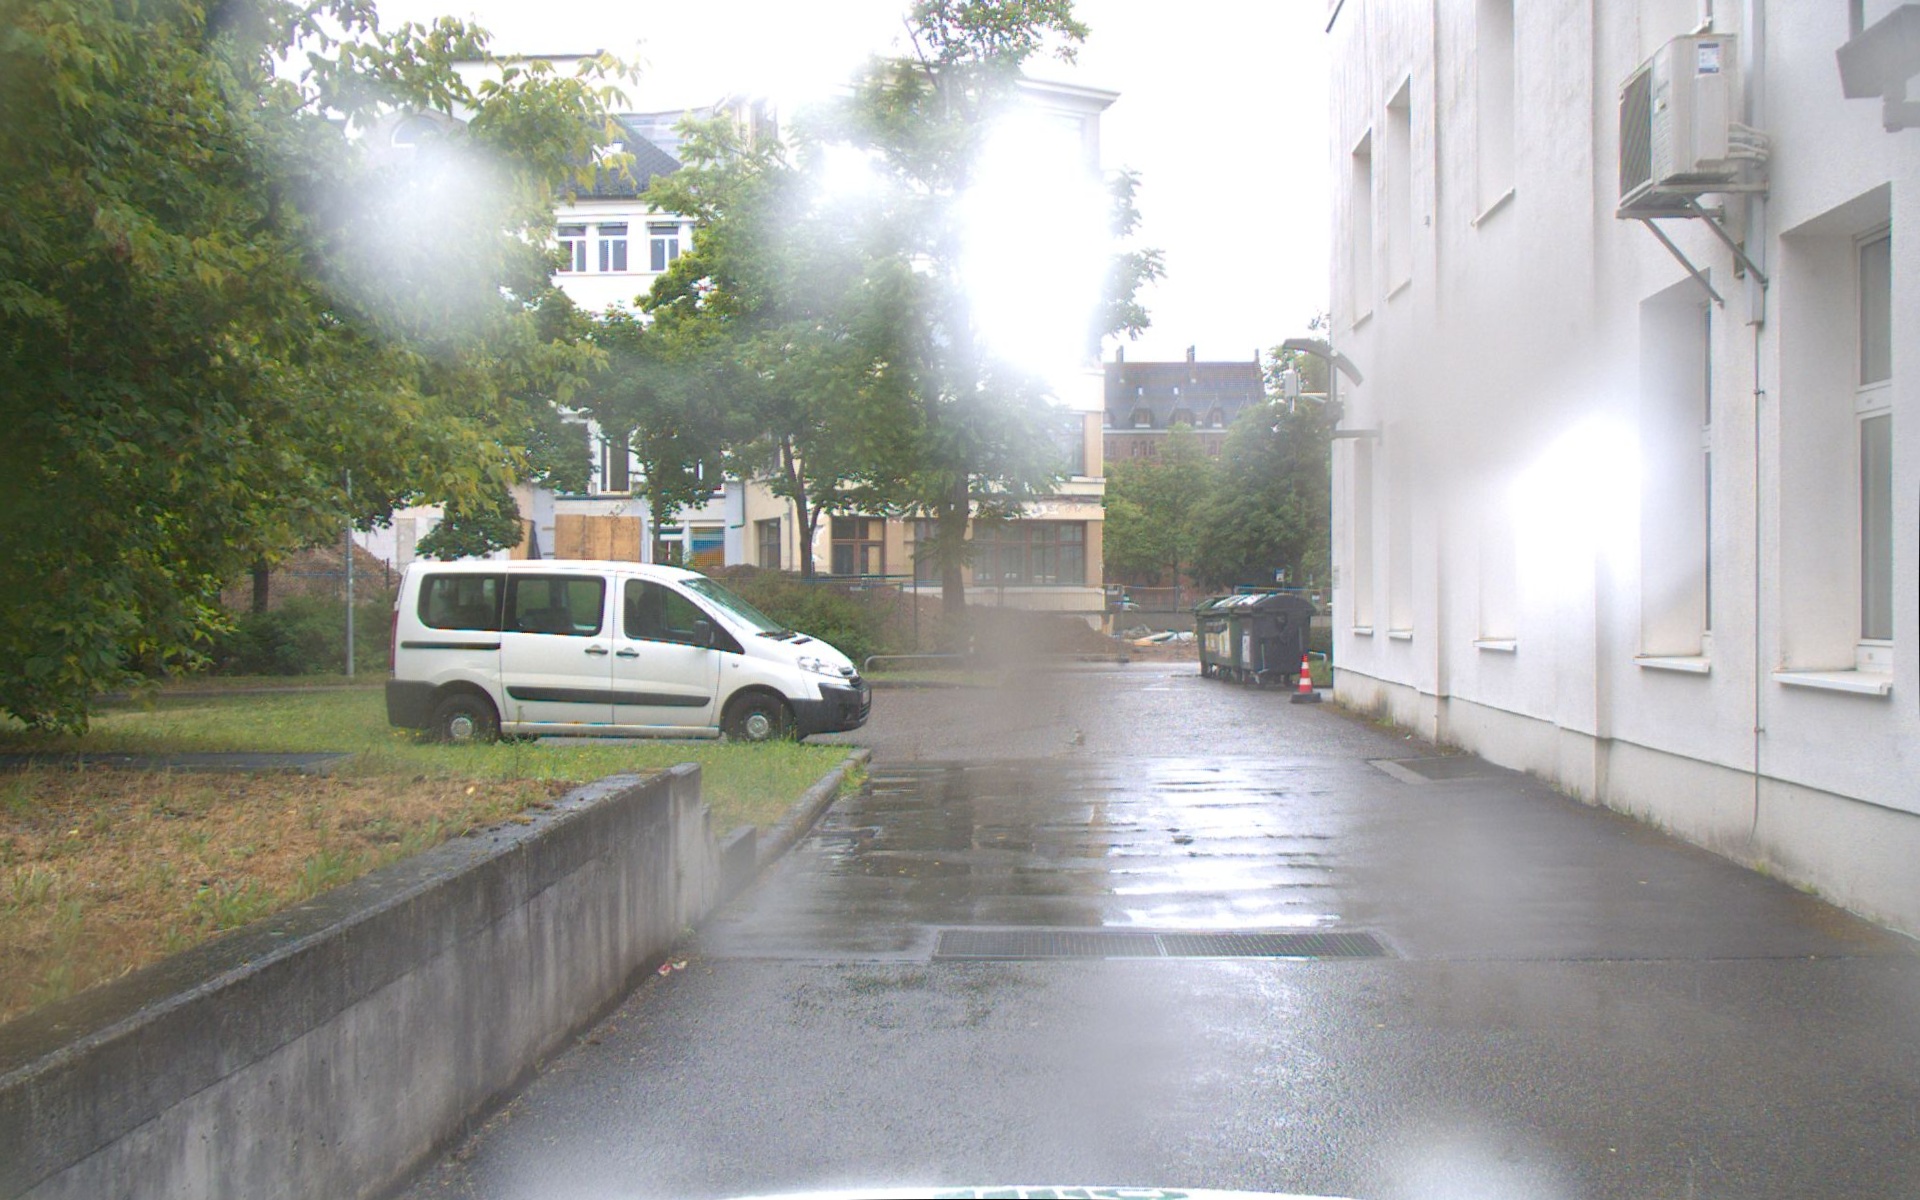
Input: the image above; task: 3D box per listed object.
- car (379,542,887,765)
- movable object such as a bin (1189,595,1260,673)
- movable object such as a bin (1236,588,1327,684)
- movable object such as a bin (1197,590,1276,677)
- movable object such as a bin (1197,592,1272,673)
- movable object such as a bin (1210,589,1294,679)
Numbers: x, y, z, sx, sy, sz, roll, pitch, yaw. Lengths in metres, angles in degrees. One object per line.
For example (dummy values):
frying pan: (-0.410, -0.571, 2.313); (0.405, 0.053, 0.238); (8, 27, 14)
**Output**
car: (-3.204, 0.512, 16.874); (4.680, 2.049, 2.001); (-1, 0, 4)
movable object such as a bin: (5.089, 0.666, 31.879); (1.189, 1.462, 1.259); (0, -2, 1)
movable object such as a bin: (4.992, 0.570, 25.795); (1.189, 1.462, 1.236); (0, -2, 1)
movable object such as a bin: (4.850, 0.600, 29.125); (1.189, 1.494, 1.236); (0, -2, 1)
movable object such as a bin: (5.044, 0.615, 30.501); (1.189, 1.462, 1.259); (0, -2, 1)
movable object such as a bin: (4.837, 0.581, 27.495); (1.189, 1.462, 1.294); (0, -2, 1)
